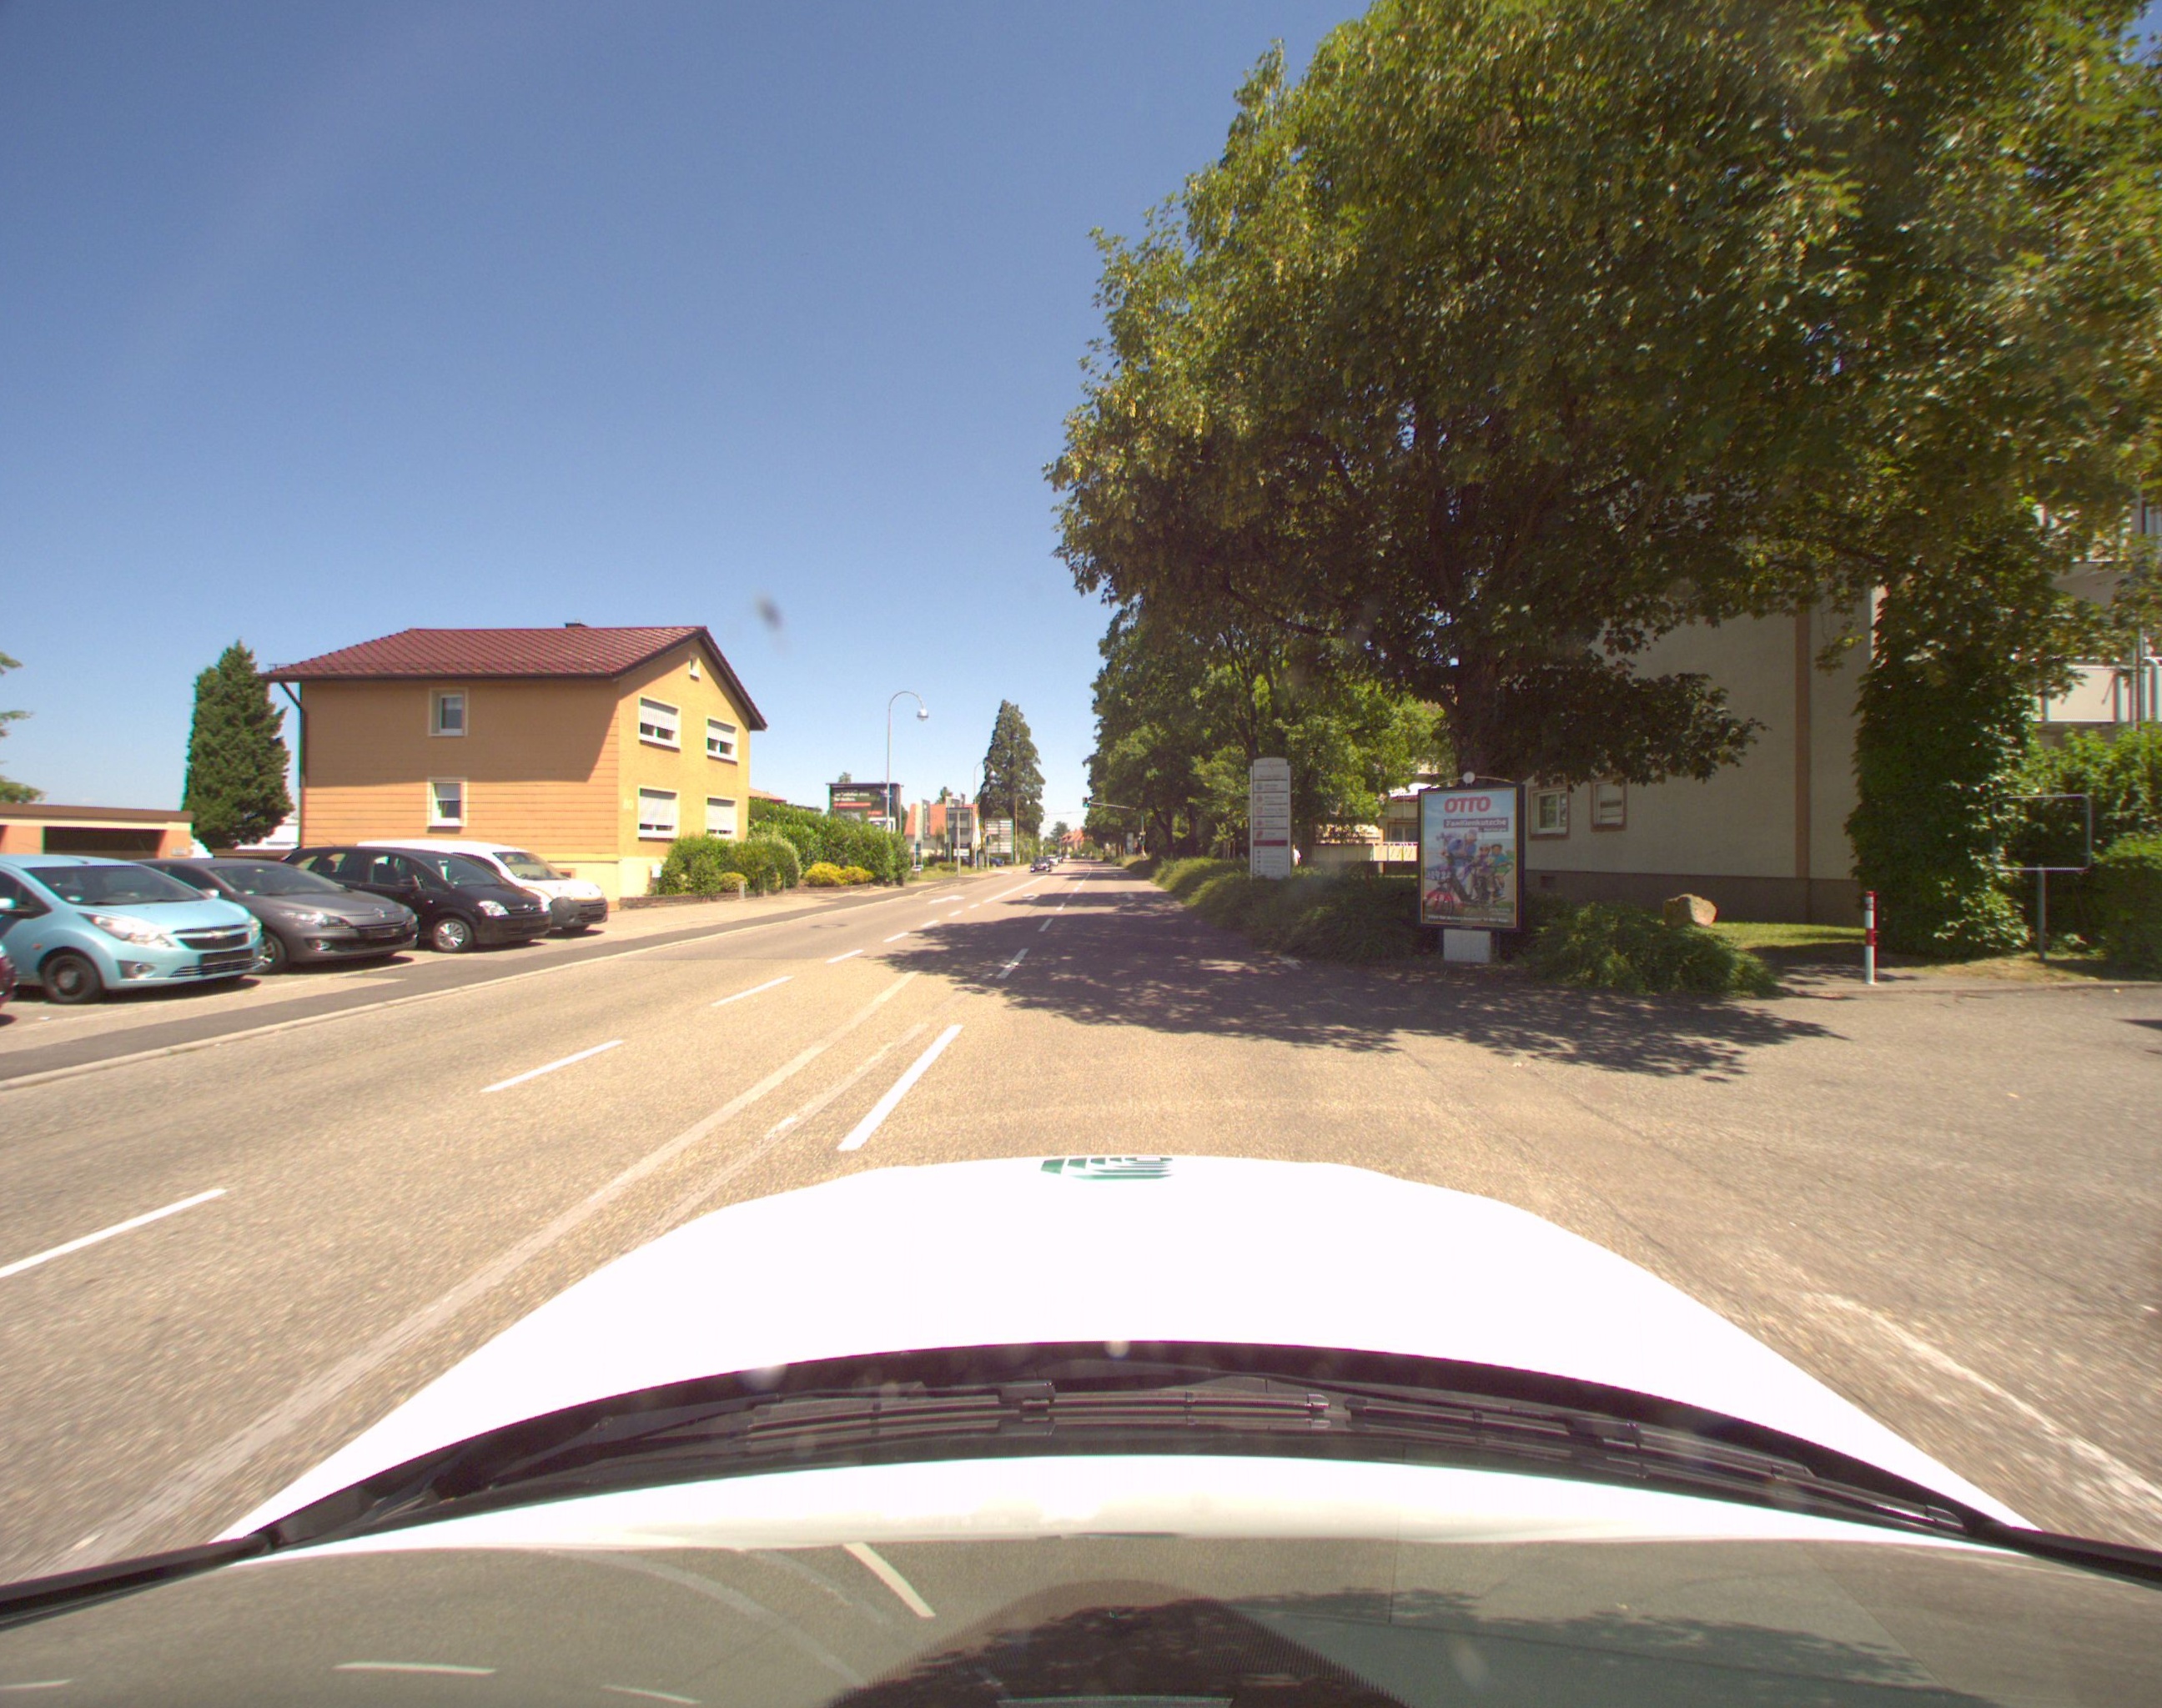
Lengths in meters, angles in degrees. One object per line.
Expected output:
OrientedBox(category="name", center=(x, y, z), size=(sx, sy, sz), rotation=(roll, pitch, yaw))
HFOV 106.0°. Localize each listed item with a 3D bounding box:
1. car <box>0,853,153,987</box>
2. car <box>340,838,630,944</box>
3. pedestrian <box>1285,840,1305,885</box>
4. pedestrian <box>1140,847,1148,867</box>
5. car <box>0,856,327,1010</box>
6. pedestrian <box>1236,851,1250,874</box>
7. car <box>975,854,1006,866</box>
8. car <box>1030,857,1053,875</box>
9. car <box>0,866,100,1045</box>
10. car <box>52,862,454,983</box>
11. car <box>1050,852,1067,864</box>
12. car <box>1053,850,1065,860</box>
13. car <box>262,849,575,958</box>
OrientedBox(category="car", center=(-16.145, 0.889, 11.575), size=(3.652, 1.776, 1.922), rotation=(0, -1, -1))
OrientedBox(category="car", center=(-11.413, 0.671, 15.867), size=(4.084, 1.898, 1.998), rotation=(0, -1, -3))
OrientedBox(category="pedestrian", center=(9.213, 0.371, 35.012), size=(0.700, 1.914, 0.661), rotation=(-1, 0, 5))
OrientedBox(category="pedestrian", center=(5.456, 0.242, 70.375), size=(0.609, 1.751, 0.564), rotation=(-1, -1, 13))
OrientedBox(category="car", center=(-11.441, 0.828, 9.390), size=(3.652, 1.581, 1.922), rotation=(0, -1, -1))
OrientedBox(category="pedestrian", center=(9.436, 0.503, 47.563), size=(0.659, 1.335, 0.889), rotation=(0, -1, 2))
OrientedBox(category="car", center=(-10.915, 0.705, 98.421), size=(3.479, 1.427, 1.601), rotation=(0, 0, 0))
OrientedBox(category="car", center=(-3.503, 1.034, 72.451), size=(1.703, 1.495, 4.279), rotation=(0, 0, 1))
OrientedBox(category="car", center=(-11.541, 0.927, 7.091), size=(3.652, 1.605, 1.881), rotation=(0, -1, -1))
OrientedBox(category="car", center=(-11.440, 0.893, 11.497), size=(3.652, 1.531, 1.922), rotation=(0, -1, -1))
OrientedBox(category="car", center=(-3.111, 0.541, 112.237), size=(1.985, 1.487, 4.313), rotation=(-1, 0, 3))
OrientedBox(category="car", center=(-3.912, 0.214, 147.553), size=(1.872, 1.717, 4.312), rotation=(-1, 0, 2))
OrientedBox(category="car", center=(-10.955, 0.778, 13.709), size=(3.652, 1.672, 1.922), rotation=(0, -1, -1))
